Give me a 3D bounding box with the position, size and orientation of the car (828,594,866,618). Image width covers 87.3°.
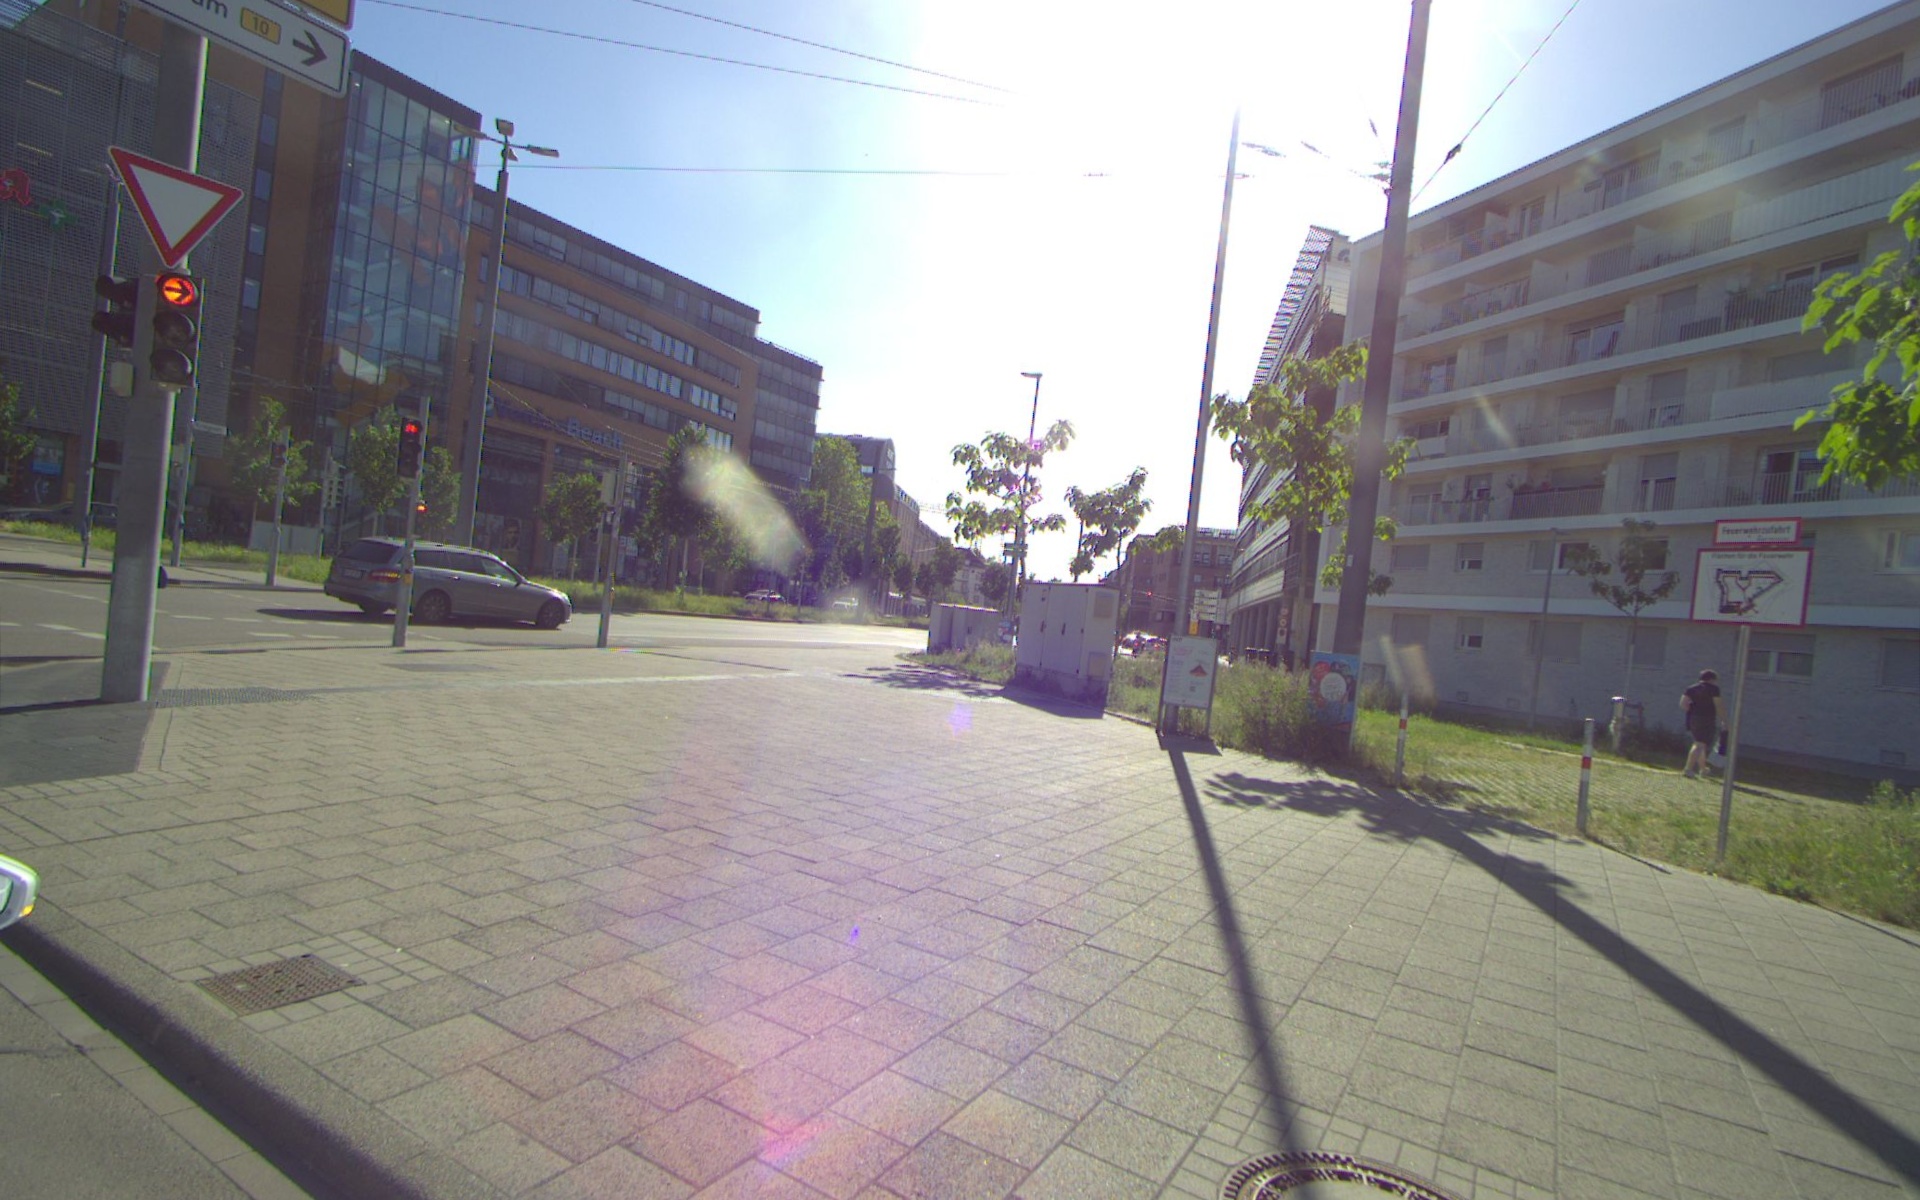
[{"bbox_3d":[-11.008,0.630,98.173,1.807,1.885,4.342,6,-1,21],"label":"car"}]

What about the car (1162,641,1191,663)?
[{"bbox_3d":[17.913,4.317,83.262,1.677,1.515,4.281,7,-2,19],"label":"car"}]

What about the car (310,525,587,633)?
[{"bbox_3d":[-10.020,-0.314,20.201,1.676,1.591,4.870,7,-1,24],"label":"car"}]

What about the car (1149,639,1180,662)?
[{"bbox_3d":[15.741,3.901,77.301,1.677,1.515,4.281,7,-2,19],"label":"car"}]

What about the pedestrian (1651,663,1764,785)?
[{"bbox_3d":[11.679,1.931,15.738,0.970,1.719,0.842,6,2,-16],"label":"pedestrian"}]

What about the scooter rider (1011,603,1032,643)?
[{"bbox_3d":[3.034,1.140,49.613,0.563,1.894,0.787,7,-1,22],"label":"scooter rider"}]

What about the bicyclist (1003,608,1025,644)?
[{"bbox_3d":[2.509,1.209,46.442,0.563,1.585,0.886,7,-1,22],"label":"bicyclist"}]

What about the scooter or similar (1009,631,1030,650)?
[{"bbox_3d":[2.927,2.011,49.596,0.603,0.795,1.213,7,-2,22],"label":"scooter or similar"}]

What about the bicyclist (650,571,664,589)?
[{"bbox_3d":[-25.110,-1.638,83.447,0.556,1.404,0.754,9,2,31],"label":"bicyclist"}]

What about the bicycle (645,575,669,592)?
[{"bbox_3d":[-25.122,-1.387,83.488,0.559,1.232,1.859,9,1,31],"label":"bicycle"}]

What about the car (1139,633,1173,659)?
[{"bbox_3d":[13.891,3.289,71.155,1.677,1.515,4.281,7,-2,19],"label":"car"}]

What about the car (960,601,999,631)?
[{"bbox_3d":[1.329,1.092,67.667,1.615,1.665,3.704,7,-1,15],"label":"car"}]

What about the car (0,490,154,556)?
[{"bbox_3d":[-32.071,-2.765,36.322,1.810,1.484,4.161,6,-5,30],"label":"car"}]

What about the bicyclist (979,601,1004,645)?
[{"bbox_3d":[1.332,0.985,42.559,0.563,1.727,0.885,7,-1,25],"label":"bicyclist"}]

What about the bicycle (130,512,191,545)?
[{"bbox_3d":[-40.522,-3.606,51.028,0.595,1.310,2.260,7,-2,30],"label":"bicycle"}]

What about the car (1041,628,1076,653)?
[{"bbox_3d":[7.778,3.167,78.877,1.616,1.665,4.200,7,-1,20],"label":"car"}]
